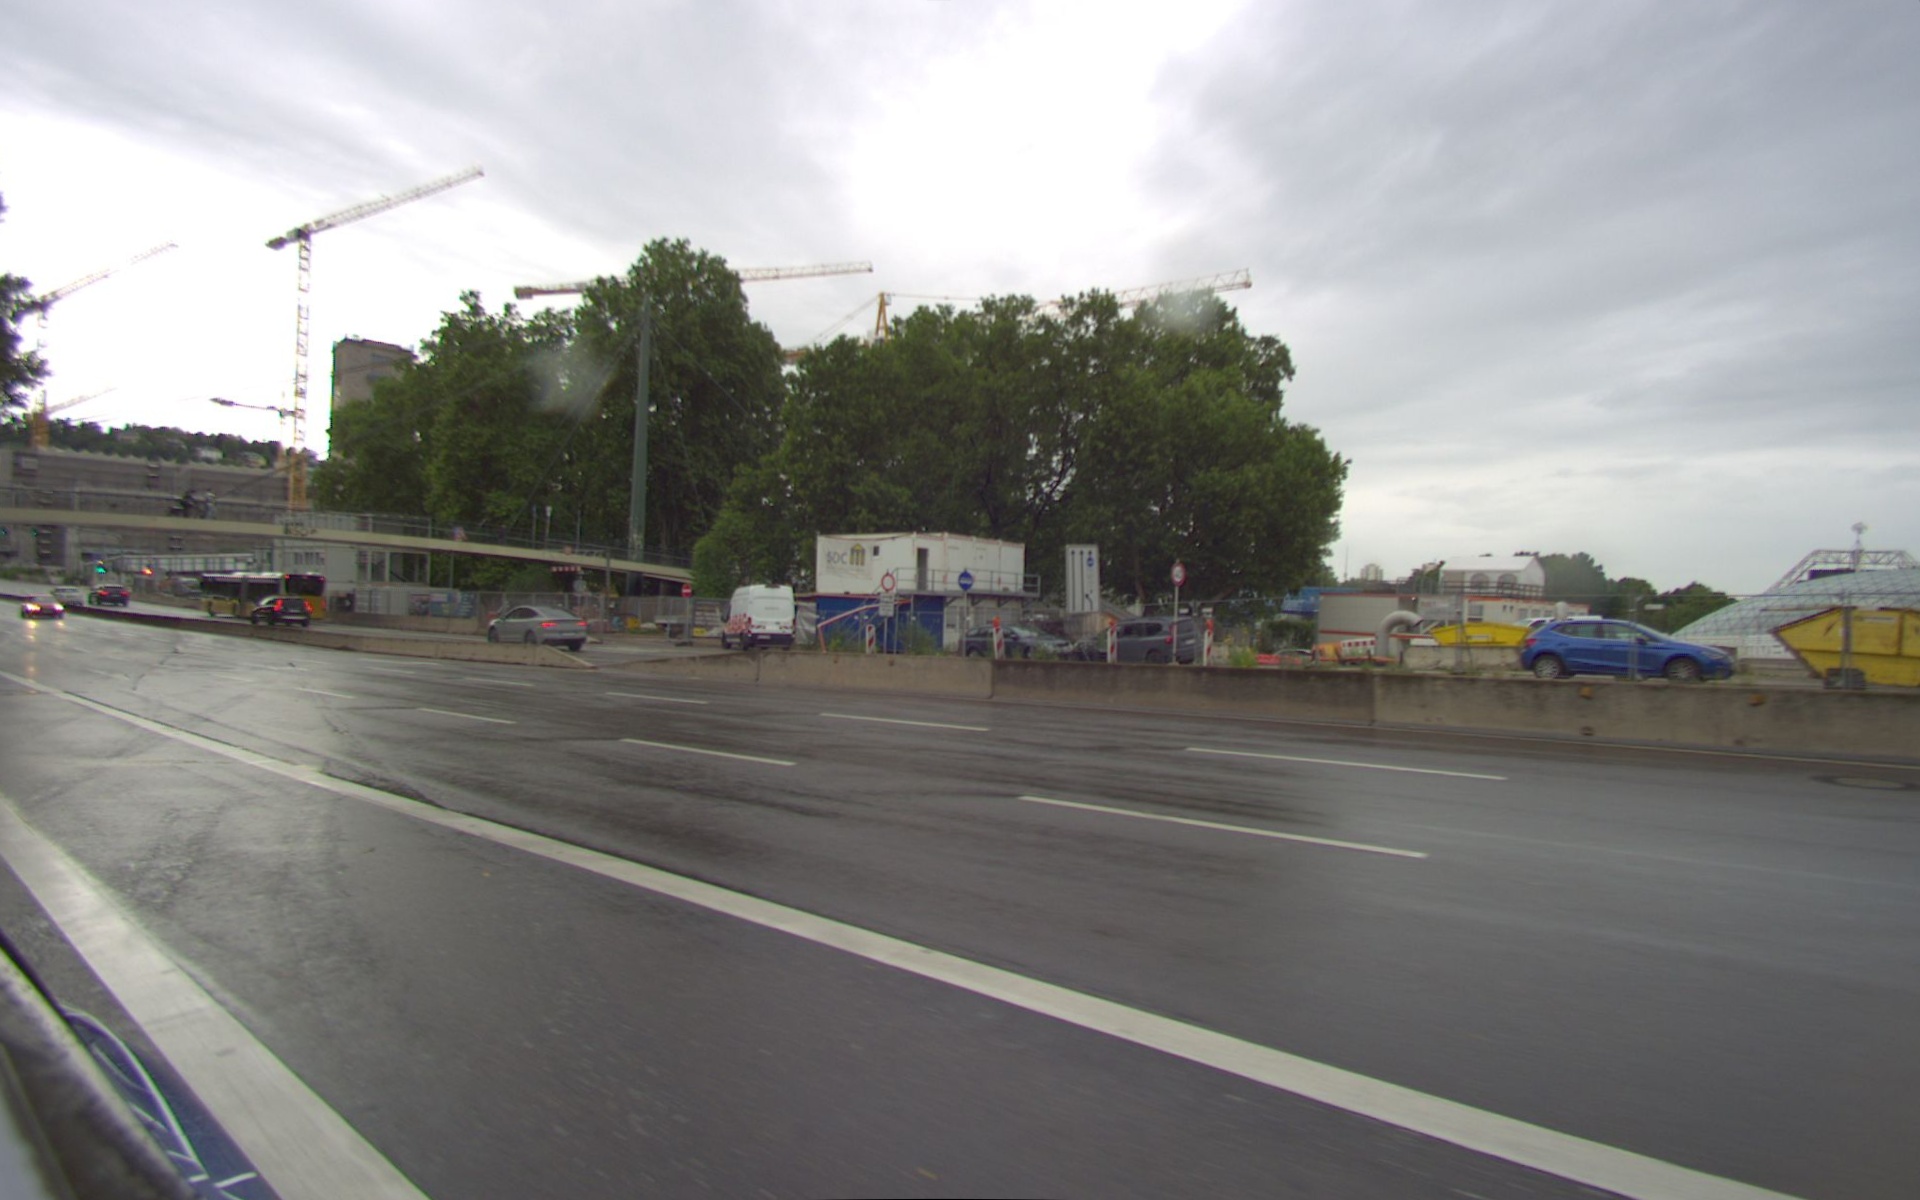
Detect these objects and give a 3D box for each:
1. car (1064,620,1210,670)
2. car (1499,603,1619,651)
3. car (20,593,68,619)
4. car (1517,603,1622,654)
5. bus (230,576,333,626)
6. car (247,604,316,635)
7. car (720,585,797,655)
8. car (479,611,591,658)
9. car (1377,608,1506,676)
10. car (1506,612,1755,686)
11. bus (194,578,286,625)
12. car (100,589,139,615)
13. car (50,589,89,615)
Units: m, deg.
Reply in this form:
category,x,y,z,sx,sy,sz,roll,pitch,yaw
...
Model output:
category,x,y,z,sx,sy,sz,roll,pitch,yaw
car,5.607,1.400,32.465,1.814,1.501,4.443,2,-2,-44
car,30.875,1.404,52.301,4.885,2.402,1.997,0,-2,4
car,-56.928,0.410,62.881,3.997,1.564,1.668,-1,-2,40
car,29.912,1.383,49.786,3.961,2.402,1.991,0,-2,14
bus,-43.557,0.078,64.810,8.949,2.963,3.228,-1,0,41
car,-36.440,1.052,54.310,4.435,1.588,1.817,-1,-2,39
car,-8.553,0.849,42.657,2.044,2.759,4.608,1,-2,-26
car,-15.259,1.199,36.270,4.435,1.588,1.817,-1,-2,39
car,17.926,1.521,37.779,3.997,2.402,1.973,-1,-2,41
car,15.077,1.053,22.938,4.442,1.501,1.814,-1,-2,45
bus,-50.354,0.099,70.678,8.949,3.079,3.197,-1,0,41
car,-69.044,0.169,83.118,4.001,2.029,1.971,-1,-2,44
car,-70.290,0.185,79.837,4.001,2.029,1.971,-1,-2,44
